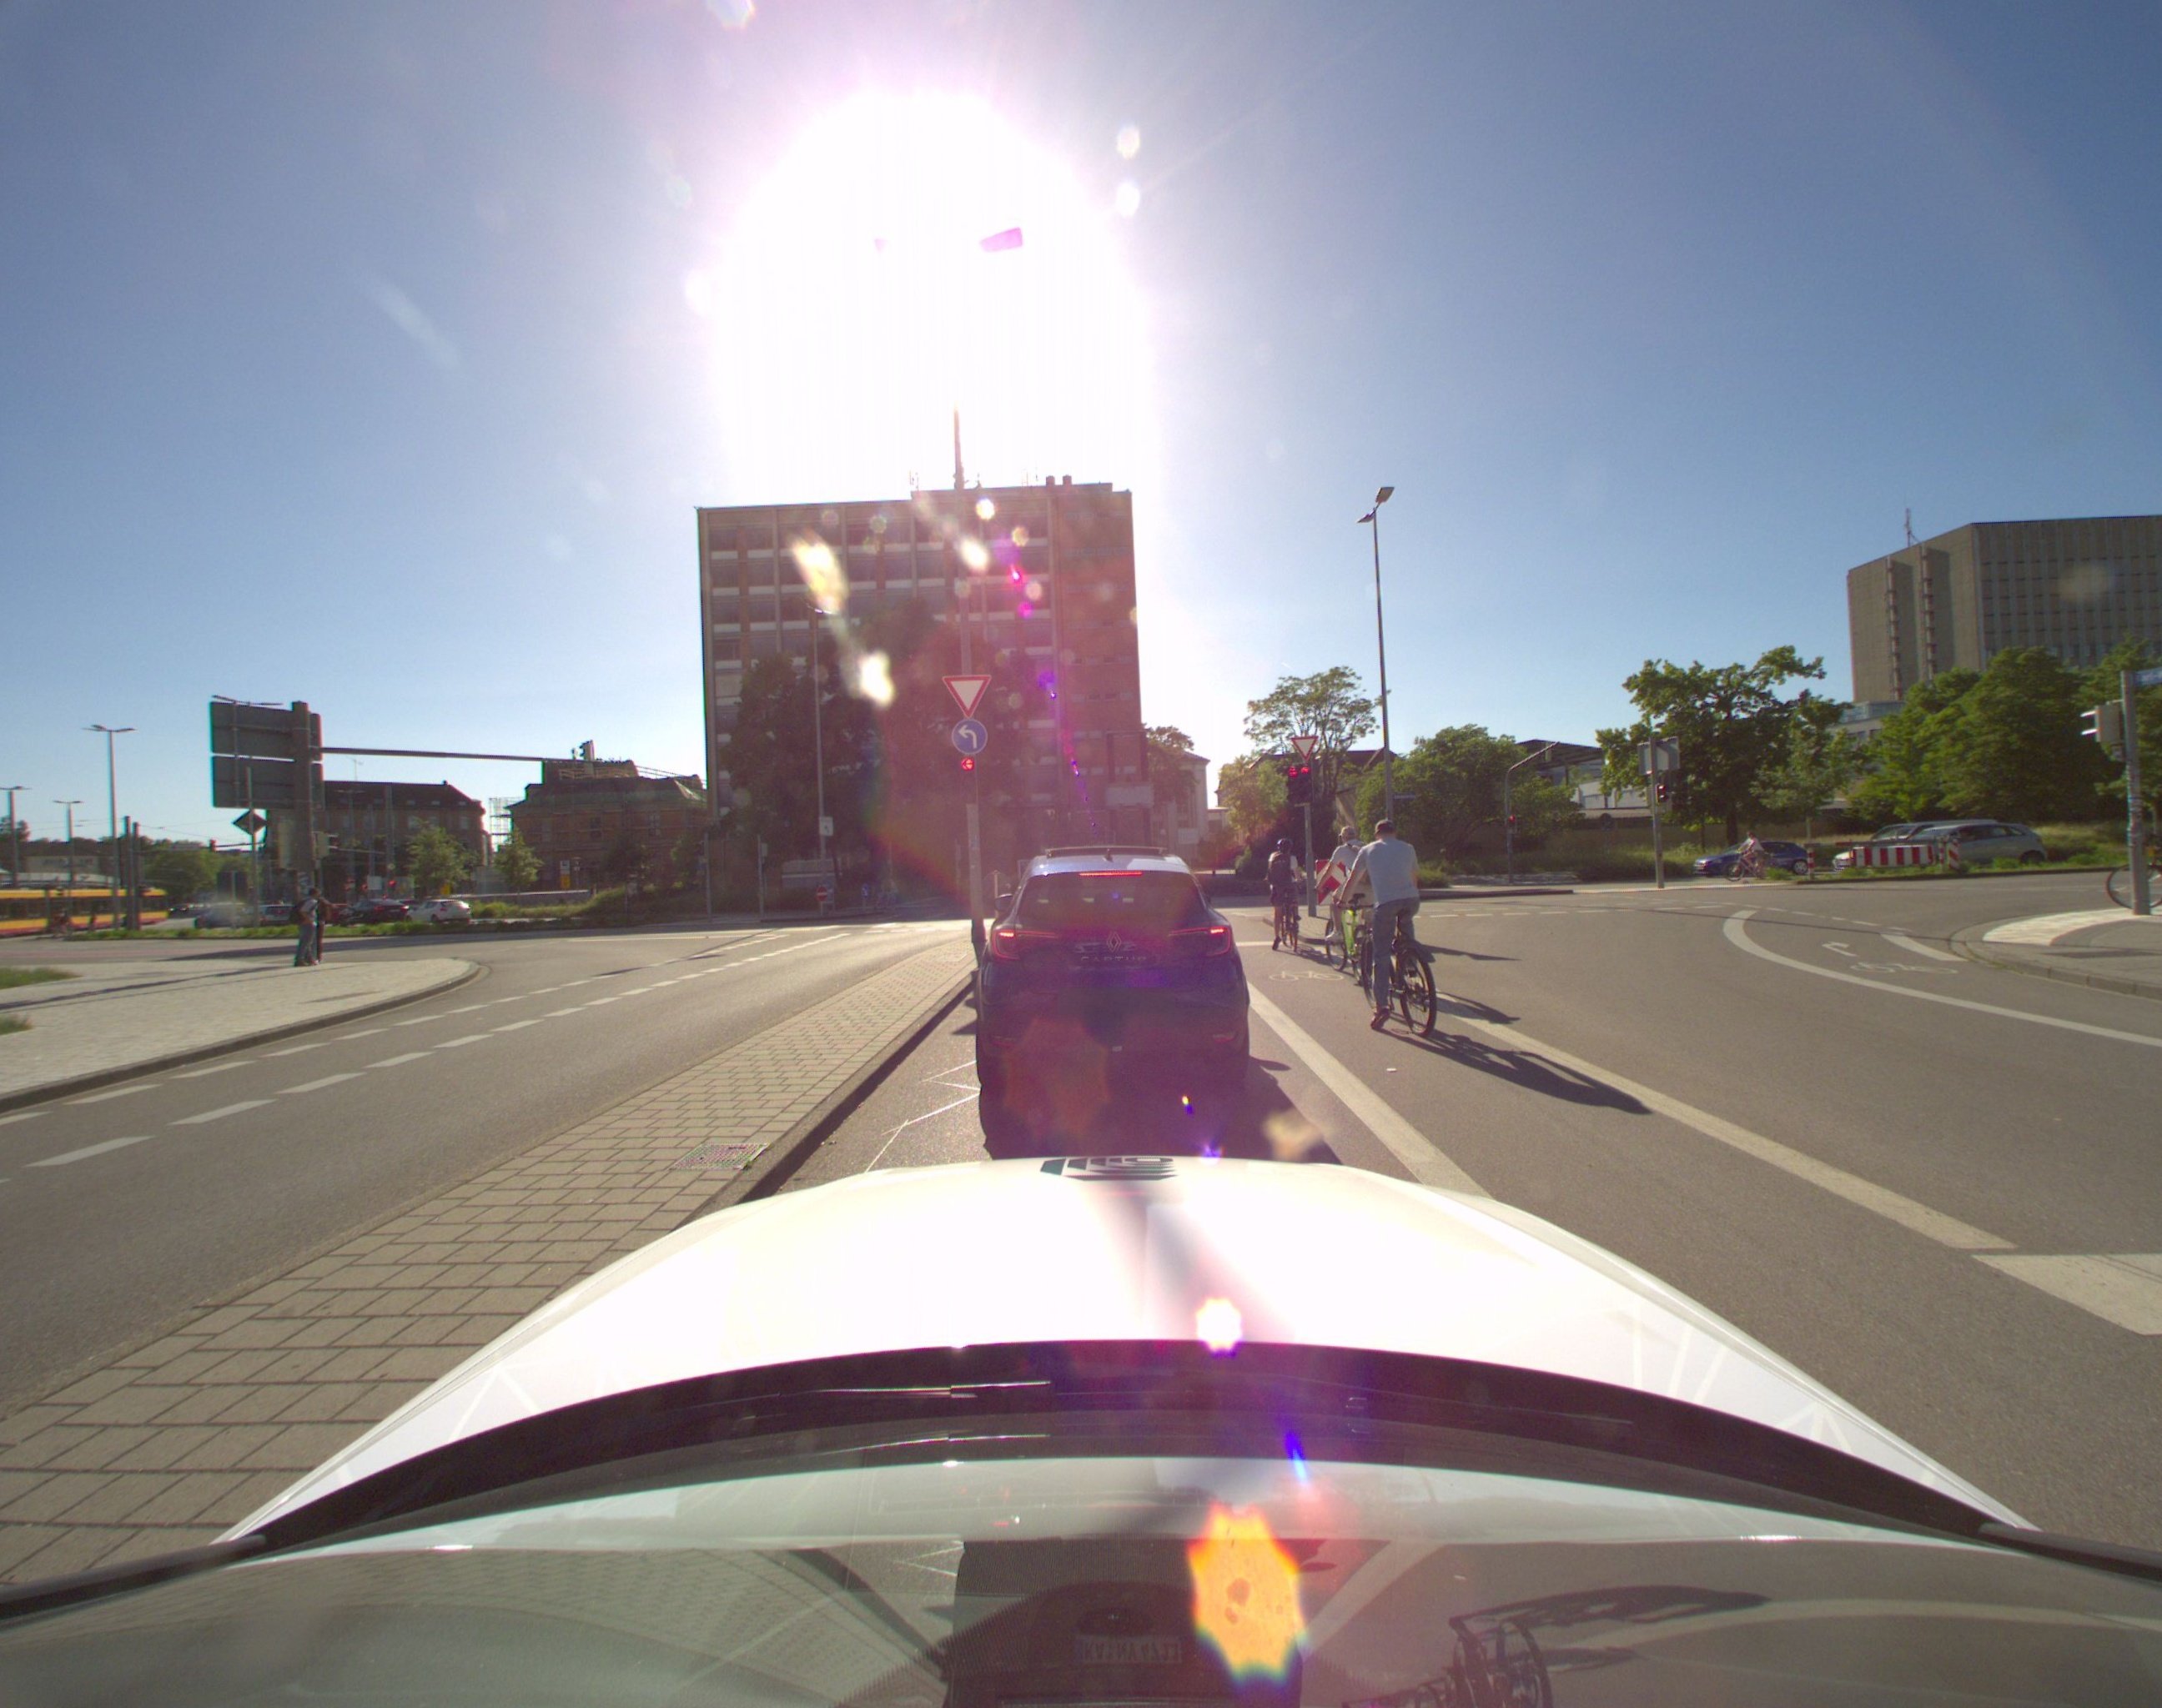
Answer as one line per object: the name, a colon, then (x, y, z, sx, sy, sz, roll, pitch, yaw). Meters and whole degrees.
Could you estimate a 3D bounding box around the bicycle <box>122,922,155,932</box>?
bicycle: (-63.964, 4.951, 55.286, 0.429, 0.549, 1.419, -3, -1, 42)

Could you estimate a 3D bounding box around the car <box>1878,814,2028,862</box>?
car: (35.874, -0.619, 33.615, 3.965, 1.749, 1.798, -3, -1, 7)

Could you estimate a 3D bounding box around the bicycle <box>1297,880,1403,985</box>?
bicycle: (3.193, 0.890, 9.863, 0.687, 1.089, 1.923, -1, 0, 2)

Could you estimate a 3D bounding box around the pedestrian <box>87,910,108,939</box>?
pedestrian: (-62.785, 4.519, 51.996, 0.696, 1.762, 0.782, -3, -1, 38)

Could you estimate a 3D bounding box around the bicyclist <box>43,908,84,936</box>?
bicyclist: (-65.702, 4.382, 52.606, 0.800, 1.634, 1.585, -1, -1, 41)

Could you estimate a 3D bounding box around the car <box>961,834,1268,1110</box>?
car: (0.200, 0.705, 6.776, 1.783, 1.585, 3.913, -1, 0, 0)

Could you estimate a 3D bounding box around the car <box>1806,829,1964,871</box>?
car: (30.299, -0.136, 30.801, 3.965, 1.398, 1.798, -3, -1, 7)

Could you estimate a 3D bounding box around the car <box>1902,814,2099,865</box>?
car: (29.224, -0.434, 26.009, 3.965, 1.398, 1.798, -3, -1, 7)

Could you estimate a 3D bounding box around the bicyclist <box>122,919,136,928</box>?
bicyclist: (-64.268, 4.671, 54.982, 0.425, 0.549, 0.575, -3, -1, 42)

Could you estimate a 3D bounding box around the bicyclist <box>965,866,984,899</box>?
bicyclist: (-5.759, 1.547, 44.081, 0.751, 1.716, 1.001, -2, -1, 7)

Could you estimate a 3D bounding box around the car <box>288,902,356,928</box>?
car: (-48.203, 3.872, 51.721, 3.834, 1.508, 1.805, -3, -1, 25)

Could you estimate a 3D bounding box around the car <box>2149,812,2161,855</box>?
car: (36.904, -0.763, 25.339, 4.534, 1.398, 1.798, -3, -1, 7)

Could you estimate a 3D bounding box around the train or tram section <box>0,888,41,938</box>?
train or tram section: (-72.963, 4.007, 53.156, 2.710, 3.232, 10.495, 0, -1, -31)

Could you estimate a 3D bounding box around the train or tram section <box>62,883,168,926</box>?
train or tram section: (-83.930, 4.233, 71.037, 2.710, 3.232, 10.495, 0, -1, -31)

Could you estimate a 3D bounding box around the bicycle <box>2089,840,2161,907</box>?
bicycle: (15.917, 0.268, 11.635, 0.640, 0.958, 1.866, -2, -1, -39)

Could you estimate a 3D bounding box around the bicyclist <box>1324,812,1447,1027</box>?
bicyclist: (2.723, 0.556, 7.410, 0.680, 1.791, 1.142, -1, -1, 2)

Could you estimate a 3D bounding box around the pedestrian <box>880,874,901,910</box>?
pedestrian: (-9.388, 1.875, 40.096, 0.675, 1.730, 0.764, -3, -1, 15)

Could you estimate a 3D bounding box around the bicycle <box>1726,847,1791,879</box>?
bicycle: (24.143, 0.321, 29.044, 1.673, 1.033, 0.612, -3, -1, 7)

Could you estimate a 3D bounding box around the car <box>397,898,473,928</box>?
car: (-36.391, 3.338, 45.847, 3.834, 1.508, 1.805, -3, -1, 25)

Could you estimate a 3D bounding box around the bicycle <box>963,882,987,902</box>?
bicycle: (-5.723, 2.044, 44.181, 0.751, 0.985, 2.098, -2, 0, 8)

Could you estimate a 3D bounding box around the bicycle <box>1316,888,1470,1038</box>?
bicycle: (2.727, 0.899, 7.360, 0.687, 1.089, 1.923, -1, 0, 2)

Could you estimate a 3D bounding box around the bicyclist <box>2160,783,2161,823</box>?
bicyclist: (16.029, -0.226, 11.482, 0.635, 1.646, 0.903, -2, -1, -39)

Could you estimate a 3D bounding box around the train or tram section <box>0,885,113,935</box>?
train or tram section: (-78.435, 4.119, 62.085, 2.710, 3.232, 10.495, 0, -1, -31)

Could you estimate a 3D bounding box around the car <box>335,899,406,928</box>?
car: (-42.546, 3.565, 48.752, 3.834, 1.508, 1.805, -3, -1, 25)

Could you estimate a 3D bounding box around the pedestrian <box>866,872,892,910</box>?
pedestrian: (-10.115, 1.852, 40.778, 0.807, 1.862, 0.913, -3, -1, 15)

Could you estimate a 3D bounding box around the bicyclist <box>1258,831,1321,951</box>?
bicyclist: (3.259, 0.559, 12.825, 0.697, 1.791, 1.142, -1, -1, 2)

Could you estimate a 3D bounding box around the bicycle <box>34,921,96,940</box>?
bicycle: (-65.651, 4.926, 52.643, 0.800, 1.062, 2.434, -1, -1, 43)

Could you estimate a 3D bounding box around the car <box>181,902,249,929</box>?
car: (-54.909, 3.894, 51.649, 3.834, 1.508, 1.805, -3, -1, 25)

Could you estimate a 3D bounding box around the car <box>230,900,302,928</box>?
car: (-48.860, 3.607, 48.817, 3.834, 1.508, 1.805, -3, -1, 25)

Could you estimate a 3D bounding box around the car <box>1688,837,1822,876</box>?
car: (28.138, 0.105, 34.115, 3.965, 1.398, 1.798, -3, -1, 7)

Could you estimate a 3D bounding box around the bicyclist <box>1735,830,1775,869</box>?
bicyclist: (24.039, -0.160, 29.059, 0.870, 1.343, 0.612, -2, -1, 7)

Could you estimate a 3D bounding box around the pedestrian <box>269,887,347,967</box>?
pedestrian: (-17.756, 1.662, 18.727, 0.647, 1.730, 1.066, -3, -1, 15)

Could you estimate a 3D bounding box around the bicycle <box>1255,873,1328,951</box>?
bicycle: (3.259, 0.860, 12.797, 0.687, 1.089, 1.923, -1, 0, 2)

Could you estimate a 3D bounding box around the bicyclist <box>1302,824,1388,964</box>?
bicyclist: (3.185, 0.459, 9.918, 0.676, 1.594, 1.142, -1, -1, 1)
